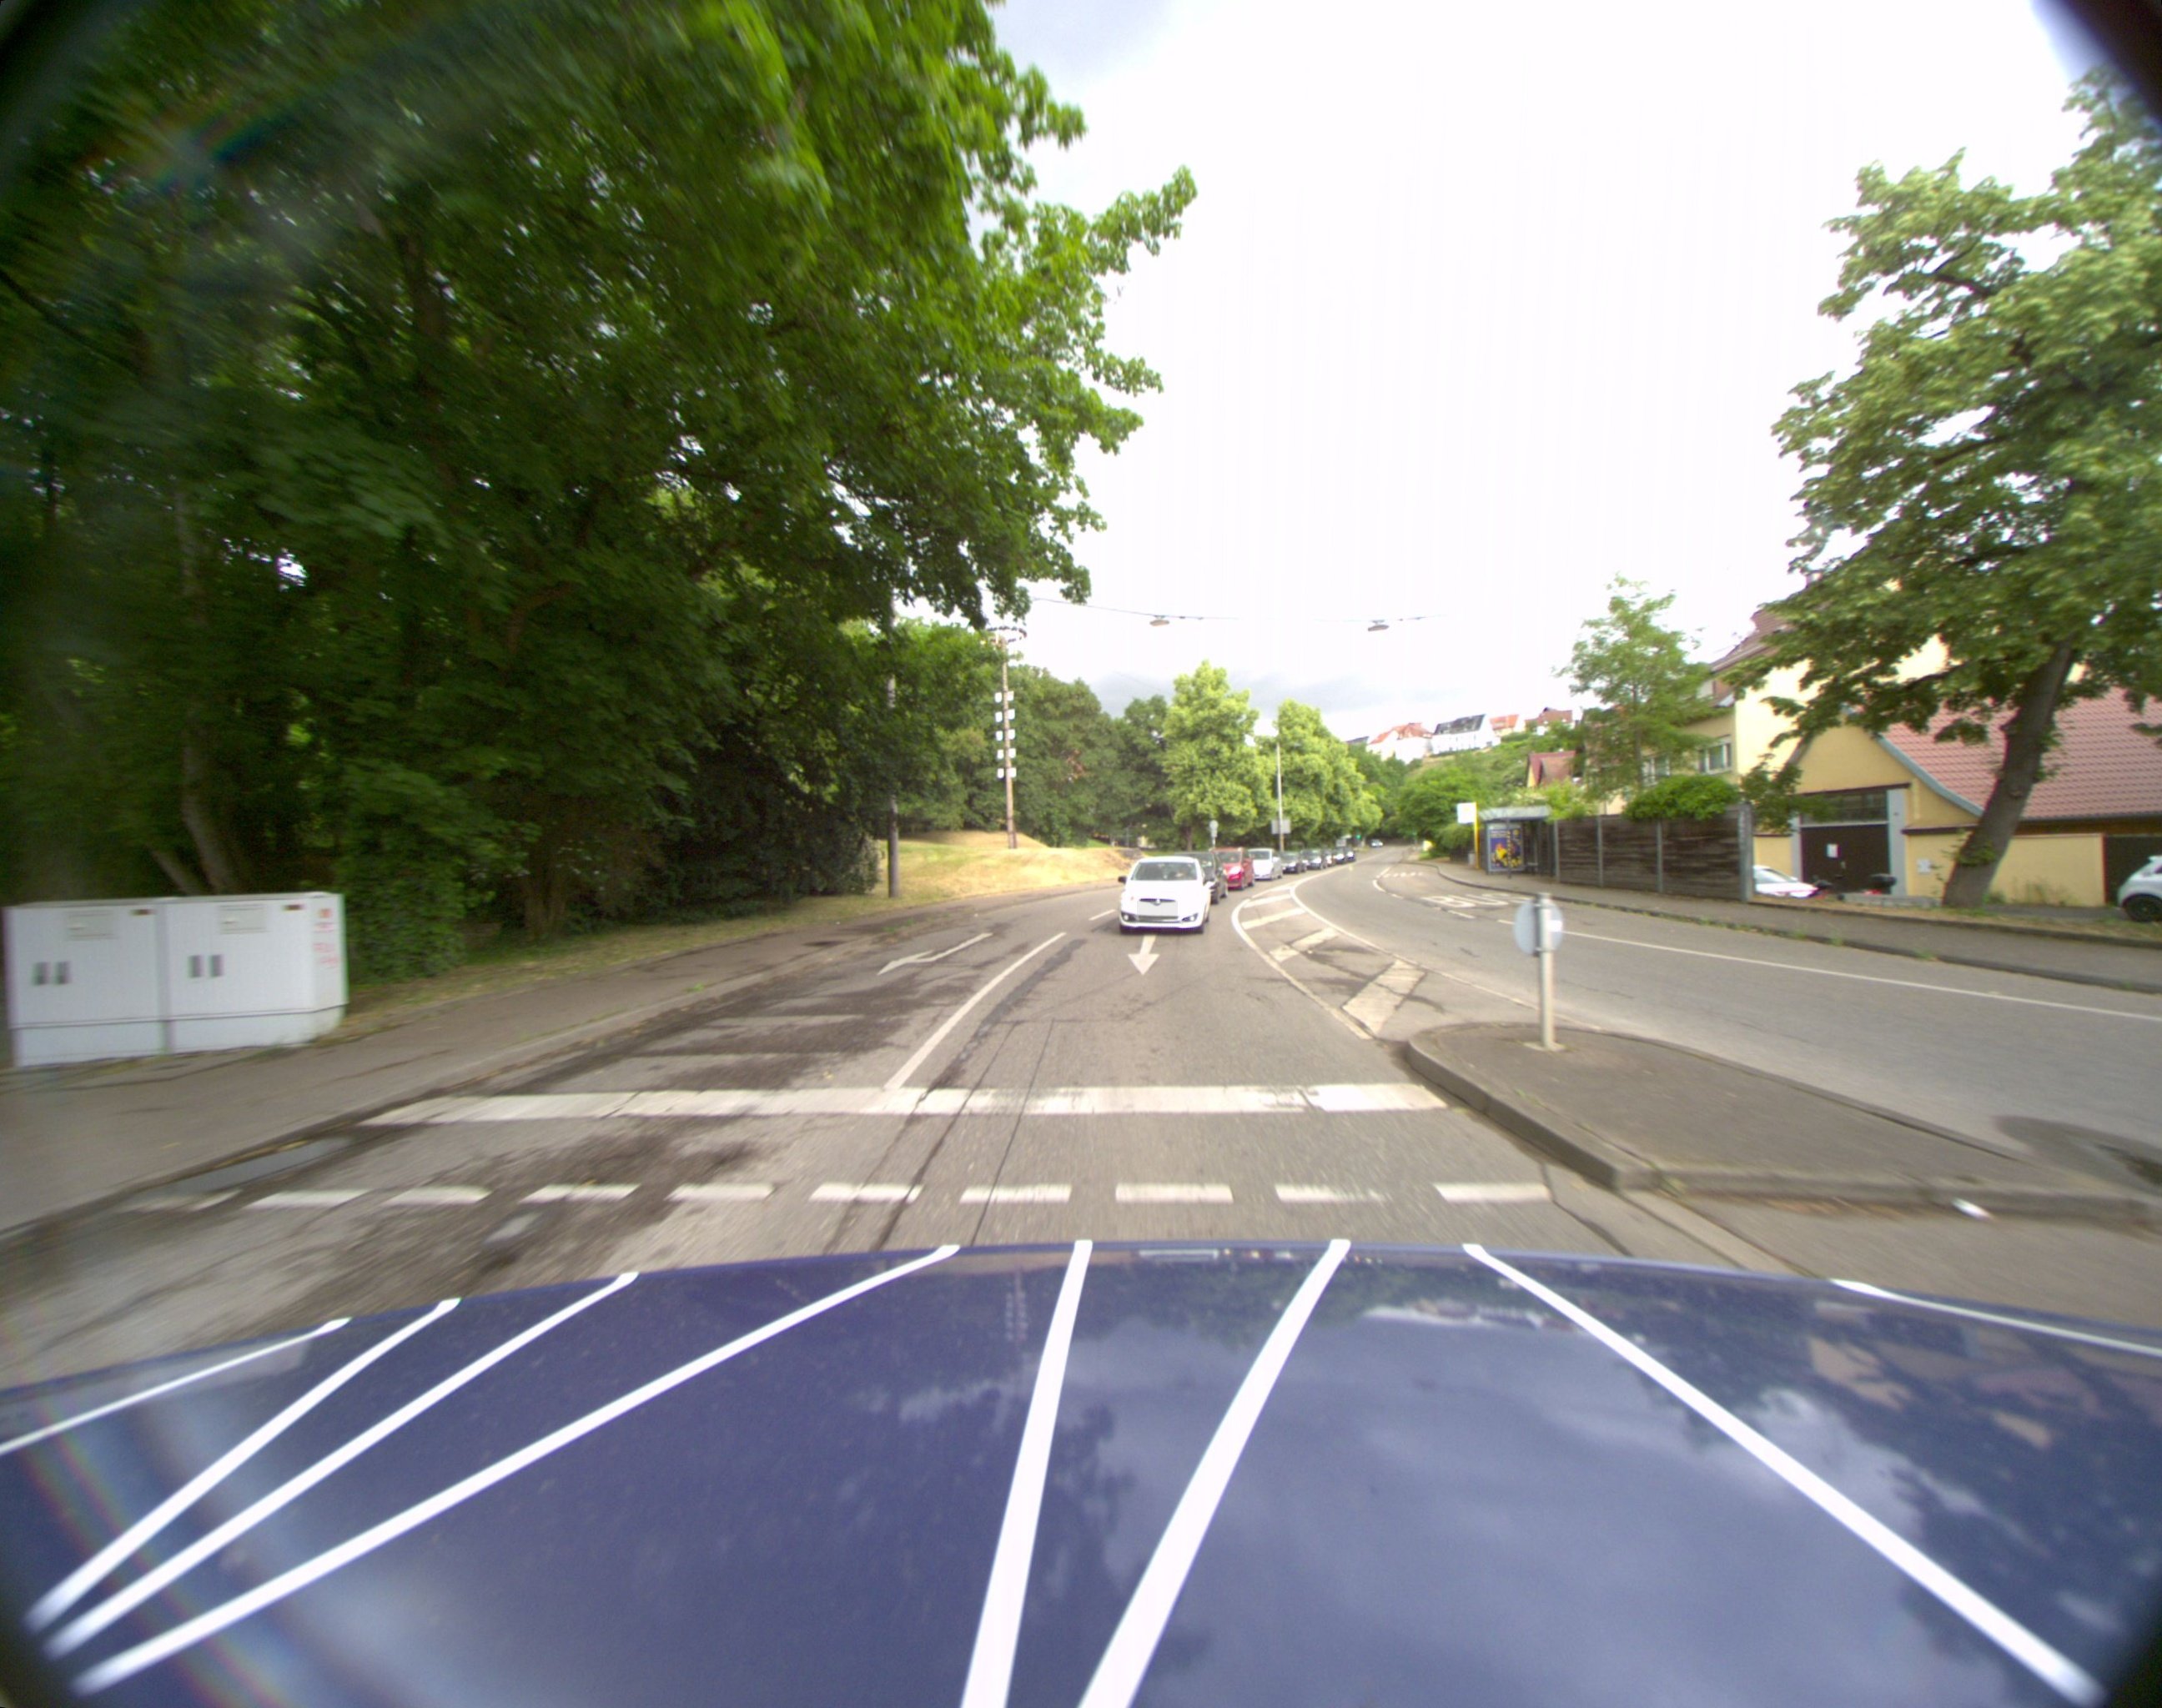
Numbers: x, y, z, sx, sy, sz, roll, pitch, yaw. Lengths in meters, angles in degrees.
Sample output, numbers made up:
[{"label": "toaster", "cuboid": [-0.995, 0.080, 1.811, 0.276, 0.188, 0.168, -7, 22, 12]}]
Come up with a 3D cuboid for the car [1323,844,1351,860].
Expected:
[{"label": "car", "cuboid": [21.308, -0.199, 63.169, 1.641, 1.262, 3.631, -1, 1, 27]}]

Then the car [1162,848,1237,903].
[{"label": "car", "cuboid": [3.751, 0.616, 23.603, 1.728, 1.512, 4.004, -1, 1, 17]}]

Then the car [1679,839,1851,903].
[{"label": "car", "cuboid": [19.251, 0.414, 21.651, 1.898, 1.618, 4.003, -2, 1, 13]}]

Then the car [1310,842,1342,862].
[{"label": "car", "cuboid": [18.684, -0.170, 57.908, 1.704, 1.438, 3.873, -1, 1, 27]}]

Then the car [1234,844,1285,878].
[{"label": "car", "cuboid": [8.964, 0.319, 37.949, 1.780, 1.560, 4.006, -1, 1, 23]}]

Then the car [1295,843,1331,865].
[{"label": "car", "cuboid": [15.843, -0.002, 51.787, 1.694, 1.403, 3.988, -1, 1, 27]}]

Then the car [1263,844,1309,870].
[{"label": "car", "cuboid": [12.402, 0.159, 45.893, 1.851, 1.449, 4.007, -1, 1, 27]}]

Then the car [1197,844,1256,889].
[{"label": "car", "cuboid": [5.818, 0.439, 30.035, 1.672, 1.632, 4.106, -1, 1, 20]}]

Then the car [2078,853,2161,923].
[{"label": "car", "cuboid": [24.763, 0.752, 16.455, 1.655, 1.483, 3.477, -2, 1, -15]}]

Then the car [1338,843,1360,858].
[{"label": "car", "cuboid": [24.225, -0.318, 68.735, 1.417, 1.242, 3.301, -1, 1, 27]}]

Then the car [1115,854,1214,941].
[{"label": "car", "cuboid": [1.854, 0.798, 15.842, 1.626, 1.499, 4.003, -1, 1, 12]}]

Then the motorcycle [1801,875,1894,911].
[{"label": "motorcycle", "cuboid": [18.252, 0.919, 18.119, 1.581, 0.819, 0.419, -1, 1, 14]}]
